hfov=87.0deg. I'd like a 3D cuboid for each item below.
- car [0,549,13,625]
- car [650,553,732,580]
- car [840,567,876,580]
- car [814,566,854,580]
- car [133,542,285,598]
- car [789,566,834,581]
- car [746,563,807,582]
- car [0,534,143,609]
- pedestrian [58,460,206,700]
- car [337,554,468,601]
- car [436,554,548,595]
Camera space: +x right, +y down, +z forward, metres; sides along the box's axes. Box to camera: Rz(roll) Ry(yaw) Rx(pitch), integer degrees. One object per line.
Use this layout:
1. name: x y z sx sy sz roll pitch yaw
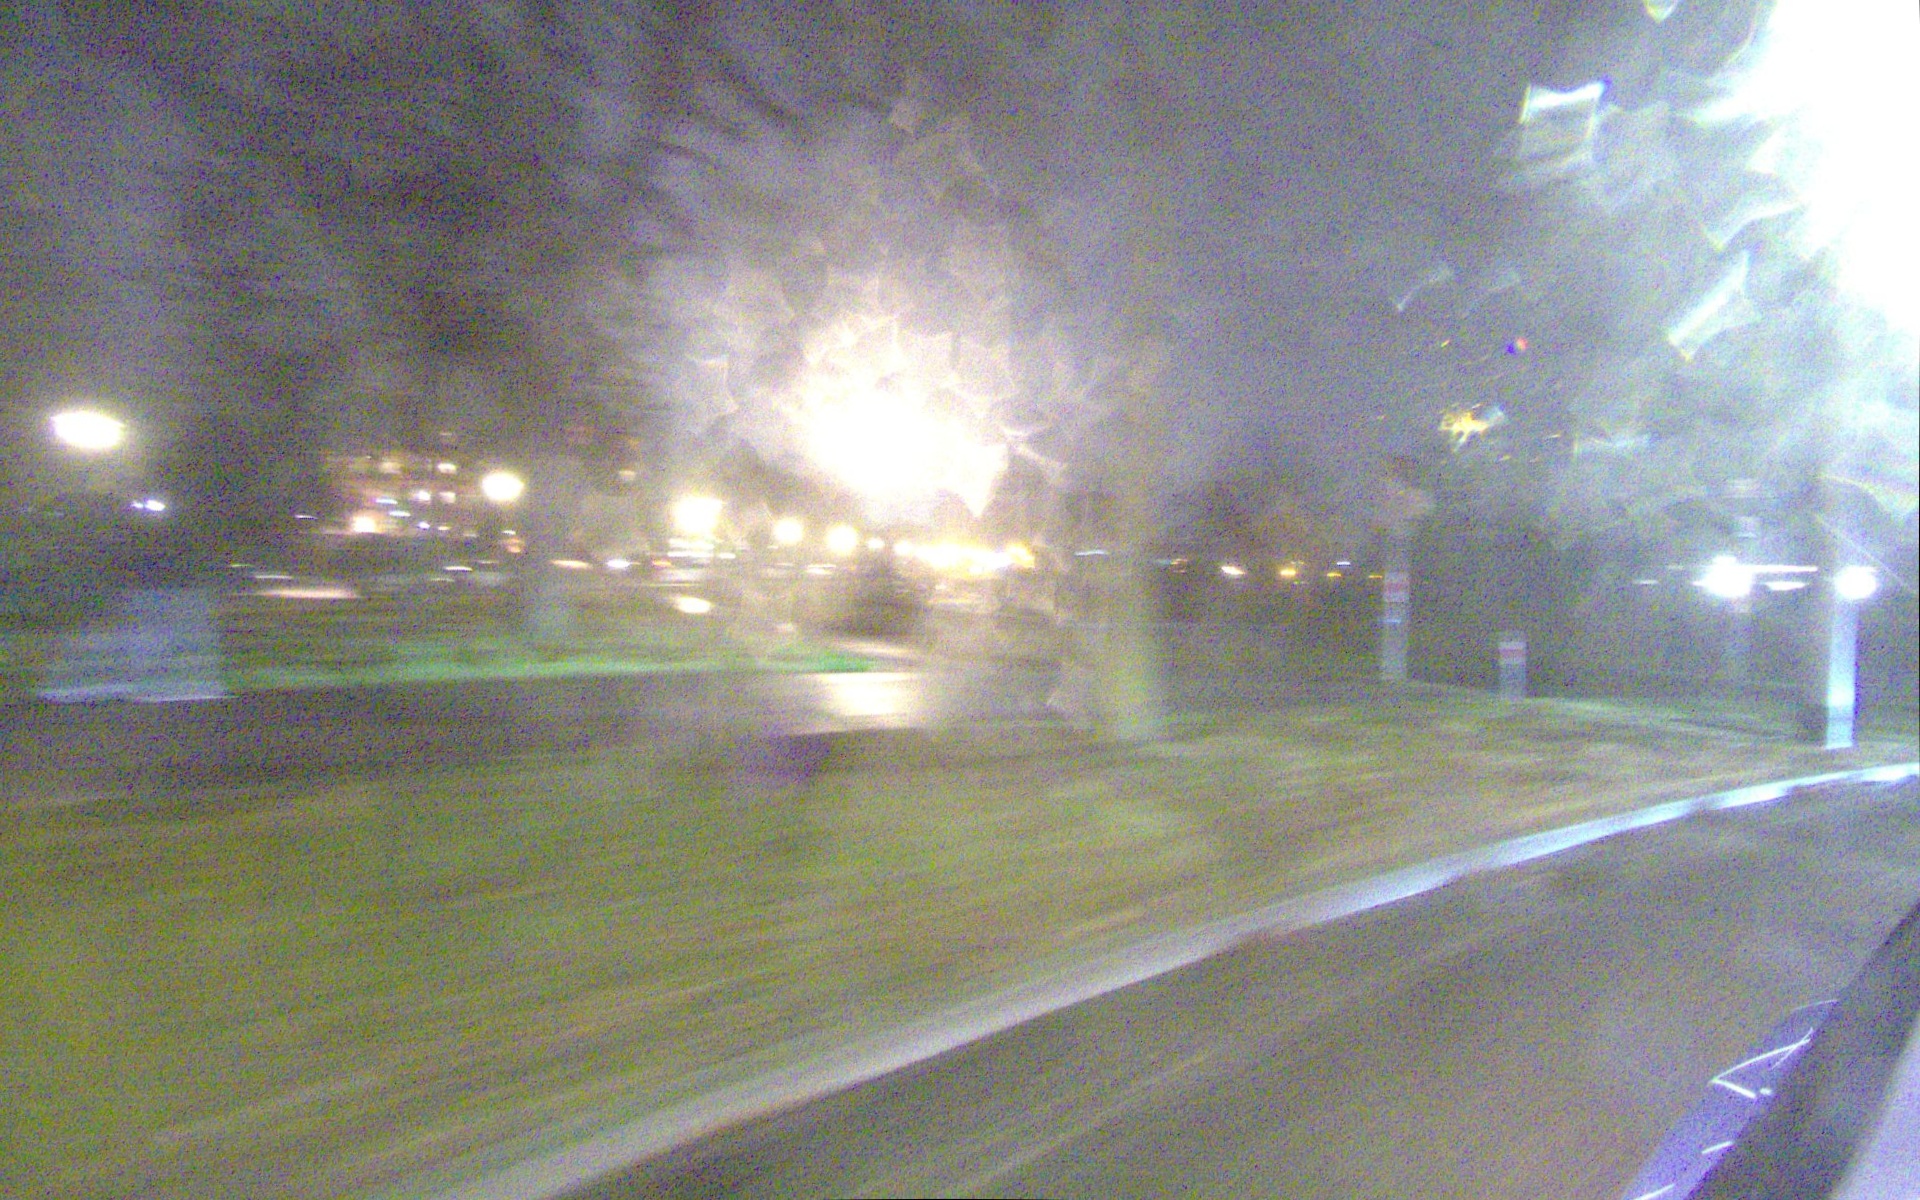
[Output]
1. car: -21.077 -0.313 19.701 3.842 1.515 1.720 2 1 5
2. car: -17.530 -2.190 66.104 4.907 1.555 1.720 2 1 5
3. car: -12.337 -3.237 122.625 4.076 1.392 1.720 2 1 5
4. car: -13.636 -2.891 109.717 4.076 1.392 1.720 2 1 5
5. car: -24.969 -0.972 33.844 1.761 1.703 4.061 2 1 6
6. car: -14.584 -2.590 99.355 4.076 1.392 1.720 2 1 5
7. car: -15.923 -2.390 88.000 4.907 1.555 1.720 2 1 5
8. car: -20.876 -0.652 22.705 3.842 1.555 1.720 2 1 5
9. pedestrian: -6.955 -0.161 8.538 0.714 1.925 0.655 1 0 -12
10. car: -20.081 -0.796 36.536 3.842 1.555 1.720 2 1 5
11. car: -19.247 -1.038 41.721 3.842 1.555 1.720 2 1 5
